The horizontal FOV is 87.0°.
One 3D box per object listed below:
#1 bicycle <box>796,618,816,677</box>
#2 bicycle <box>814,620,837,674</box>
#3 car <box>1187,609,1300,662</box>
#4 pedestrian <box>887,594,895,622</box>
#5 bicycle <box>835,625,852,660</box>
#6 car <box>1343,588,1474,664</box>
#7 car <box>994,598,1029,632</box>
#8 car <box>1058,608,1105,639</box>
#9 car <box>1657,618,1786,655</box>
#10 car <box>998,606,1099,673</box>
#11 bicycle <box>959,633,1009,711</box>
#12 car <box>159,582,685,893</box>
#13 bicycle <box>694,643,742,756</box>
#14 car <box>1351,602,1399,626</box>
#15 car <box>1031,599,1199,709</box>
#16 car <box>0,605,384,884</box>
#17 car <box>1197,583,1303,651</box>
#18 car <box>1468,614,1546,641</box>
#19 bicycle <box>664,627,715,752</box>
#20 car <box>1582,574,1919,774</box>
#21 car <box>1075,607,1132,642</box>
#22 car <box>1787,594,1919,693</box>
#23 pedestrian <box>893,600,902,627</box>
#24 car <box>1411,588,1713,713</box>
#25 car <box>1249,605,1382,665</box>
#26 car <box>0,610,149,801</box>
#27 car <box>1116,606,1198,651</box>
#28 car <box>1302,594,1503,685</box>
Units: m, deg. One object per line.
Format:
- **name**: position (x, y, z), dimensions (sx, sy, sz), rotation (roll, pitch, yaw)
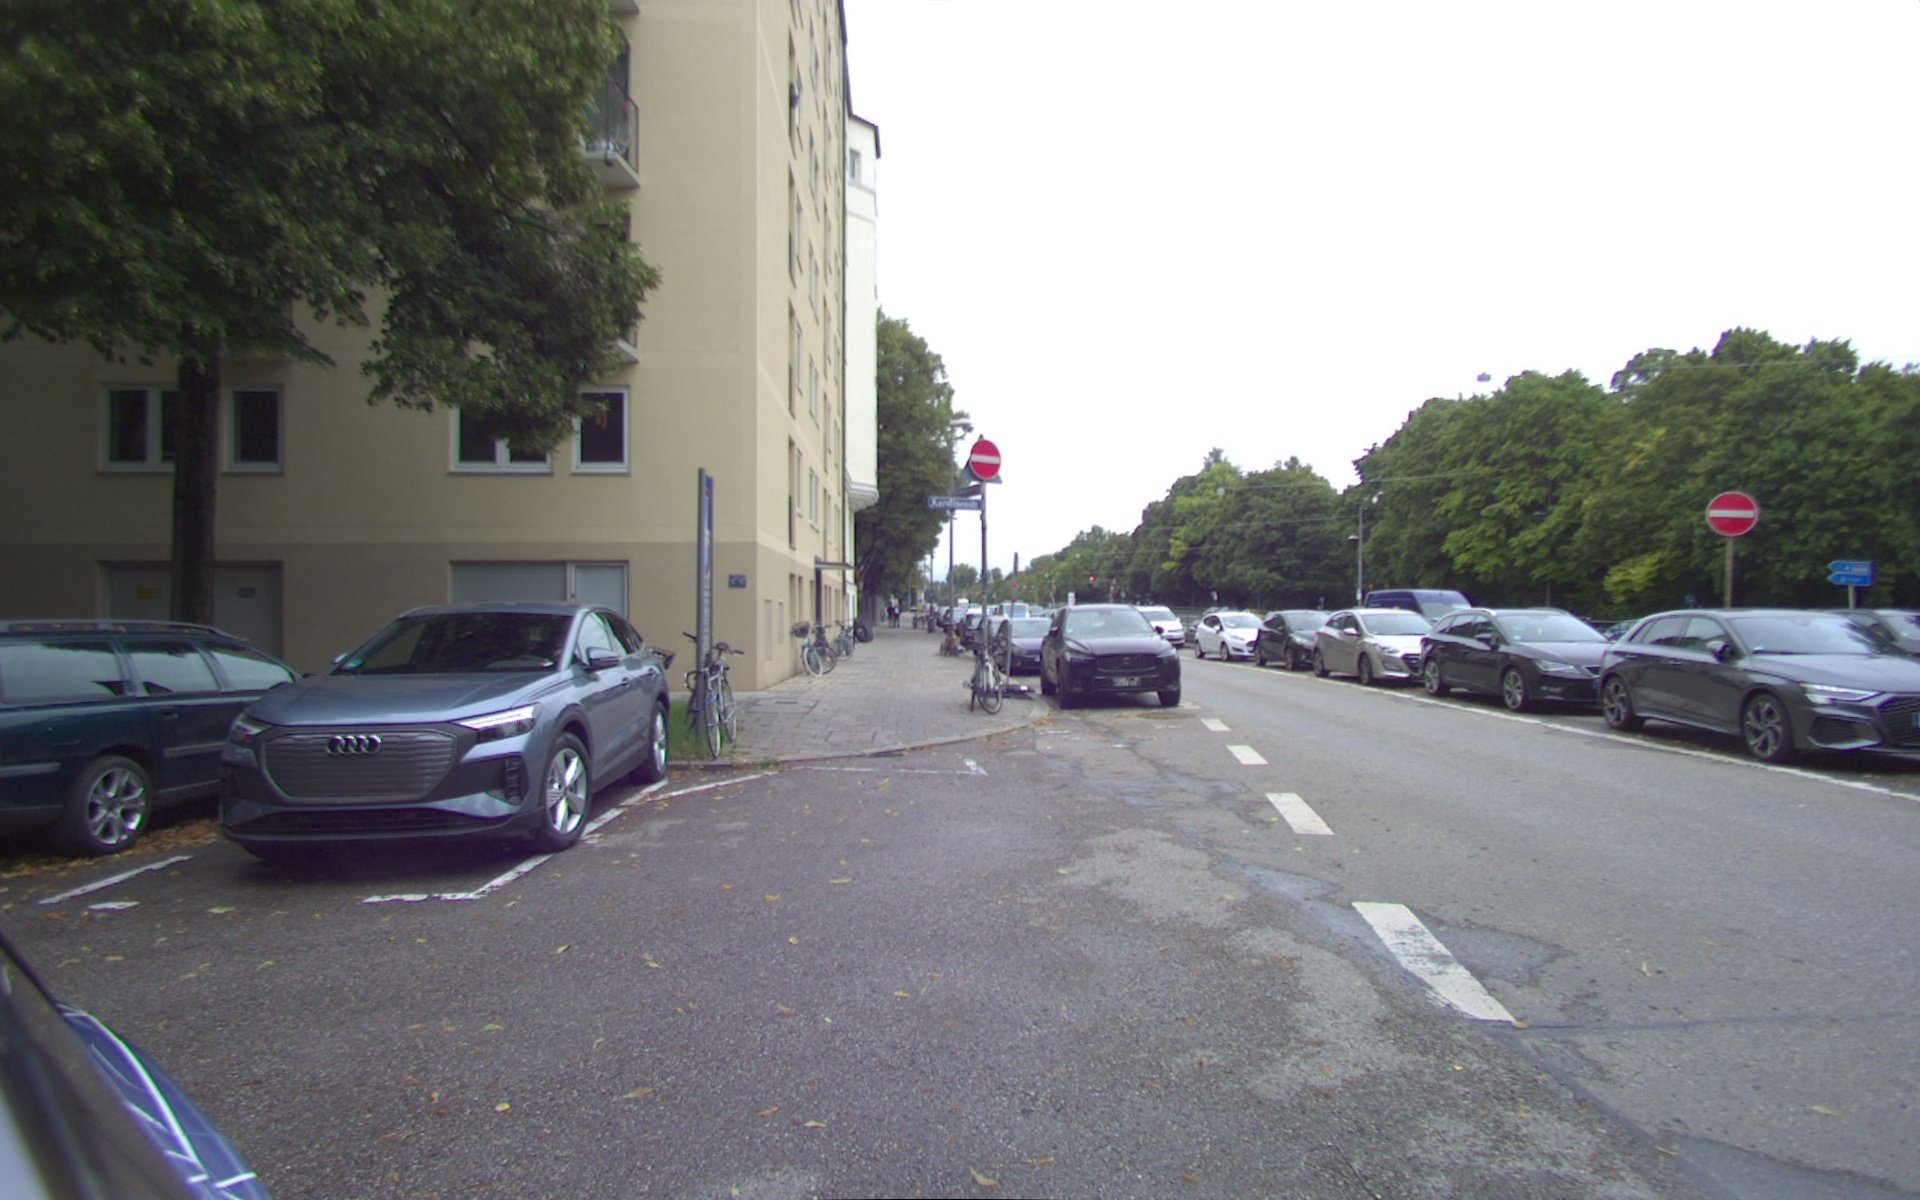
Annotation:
- **bicycle**: position (-3.226, 0.970, 21.151), dimensions (0.358, 1.180, 1.322), rotation (0, -1, -10)
- **bicycle**: position (-3.030, 1.030, 22.752), dimensions (0.394, 1.180, 1.322), rotation (0, -1, -12)
- **car**: position (8.518, 1.030, 30.839), dimensions (1.964, 1.467, 4.286), rotation (0, -1, -4)
- **pedestrian**: position (-5.064, 0.588, 73.984), dimensions (0.450, 2.029, 0.620), rotation (0, -1, -18)
- **bicycle**: position (-3.444, 1.241, 29.813), dimensions (0.455, 1.012, 1.321), rotation (0, -1, -8)
- **car**: position (15.772, 0.845, 36.008), dimensions (2.161, 2.482, 5.848), rotation (-1, 0, 2)
- **car**: position (3.448, 0.960, 69.052), dimensions (1.830, 2.227, 4.557), rotation (-1, 0, -4)
- **car**: position (6.893, 1.307, 57.911), dimensions (1.922, 1.698, 4.004), rotation (0, -1, -4)
- **car**: position (32.264, 1.530, 43.056), dimensions (1.969, 1.457, 4.323), rotation (1, -1, -5)
- **car**: position (2.254, 0.996, 26.992), dimensions (2.100, 1.577, 4.509), rotation (-2, -1, -2)
- **bicycle**: position (0.378, 1.017, 14.840), dimensions (0.625, 1.045, 1.733), rotation (0, -1, 5)
- **car**: position (-3.329, 0.722, 7.328), dimensions (1.799, 1.577, 4.249), rotation (0, -1, -4)
- **bicycle**: position (-2.507, 0.998, 10.549), dimensions (0.278, 1.069, 1.239), rotation (0, -1, -3)
- **car**: position (31.004, 1.051, 75.711), dimensions (1.859, 1.759, 4.001), rotation (-1, -1, -1)
- **car**: position (2.445, 0.828, 17.183), dimensions (2.101, 1.577, 4.507), rotation (-1, -1, 0)
- **car**: position (-6.250, 0.796, 7.279), dimensions (2.024, 1.478, 4.249), rotation (0, -1, -4)
- **car**: position (9.137, 0.532, 32.240), dimensions (1.970, 2.029, 4.004), rotation (0, -1, -4)
- **car**: position (31.962, 1.582, 59.283), dimensions (1.969, 1.457, 4.323), rotation (1, -1, -5)
- **bicycle**: position (-2.873, 0.916, 10.798), dimensions (0.278, 1.240, 1.239), rotation (0, -1, -3)
- **car**: position (8.375, 0.599, 10.047), dimensions (1.968, 1.577, 4.277), rotation (0, -1, 5)
- **car**: position (7.391, 1.254, 52.620), dimensions (2.045, 1.715, 4.563), rotation (0, -1, -4)
- **car**: position (16.434, 0.705, 16.657), dimensions (1.895, 1.598, 4.824), rotation (0, -1, 4)
- **pedestrian**: position (-4.614, 1.012, 74.751), dimensions (0.450, 2.029, 0.620), rotation (0, -1, -18)
- **car**: position (8.631, 0.672, 15.058), dimensions (1.966, 1.577, 4.281), rotation (0, -1, 1)
- **car**: position (8.812, 0.838, 25.489), dimensions (1.742, 1.380, 4.284), rotation (0, -1, -1)
- **car**: position (-8.338, 0.818, 7.231), dimensions (1.889, 1.478, 4.249), rotation (0, -1, -4)
- **car**: position (8.031, 1.123, 41.773), dimensions (2.045, 1.715, 5.095), rotation (0, -1, -4)
- **car**: position (8.479, 0.720, 19.888), dimensions (1.965, 1.577, 4.284), rotation (0, -1, -1)
